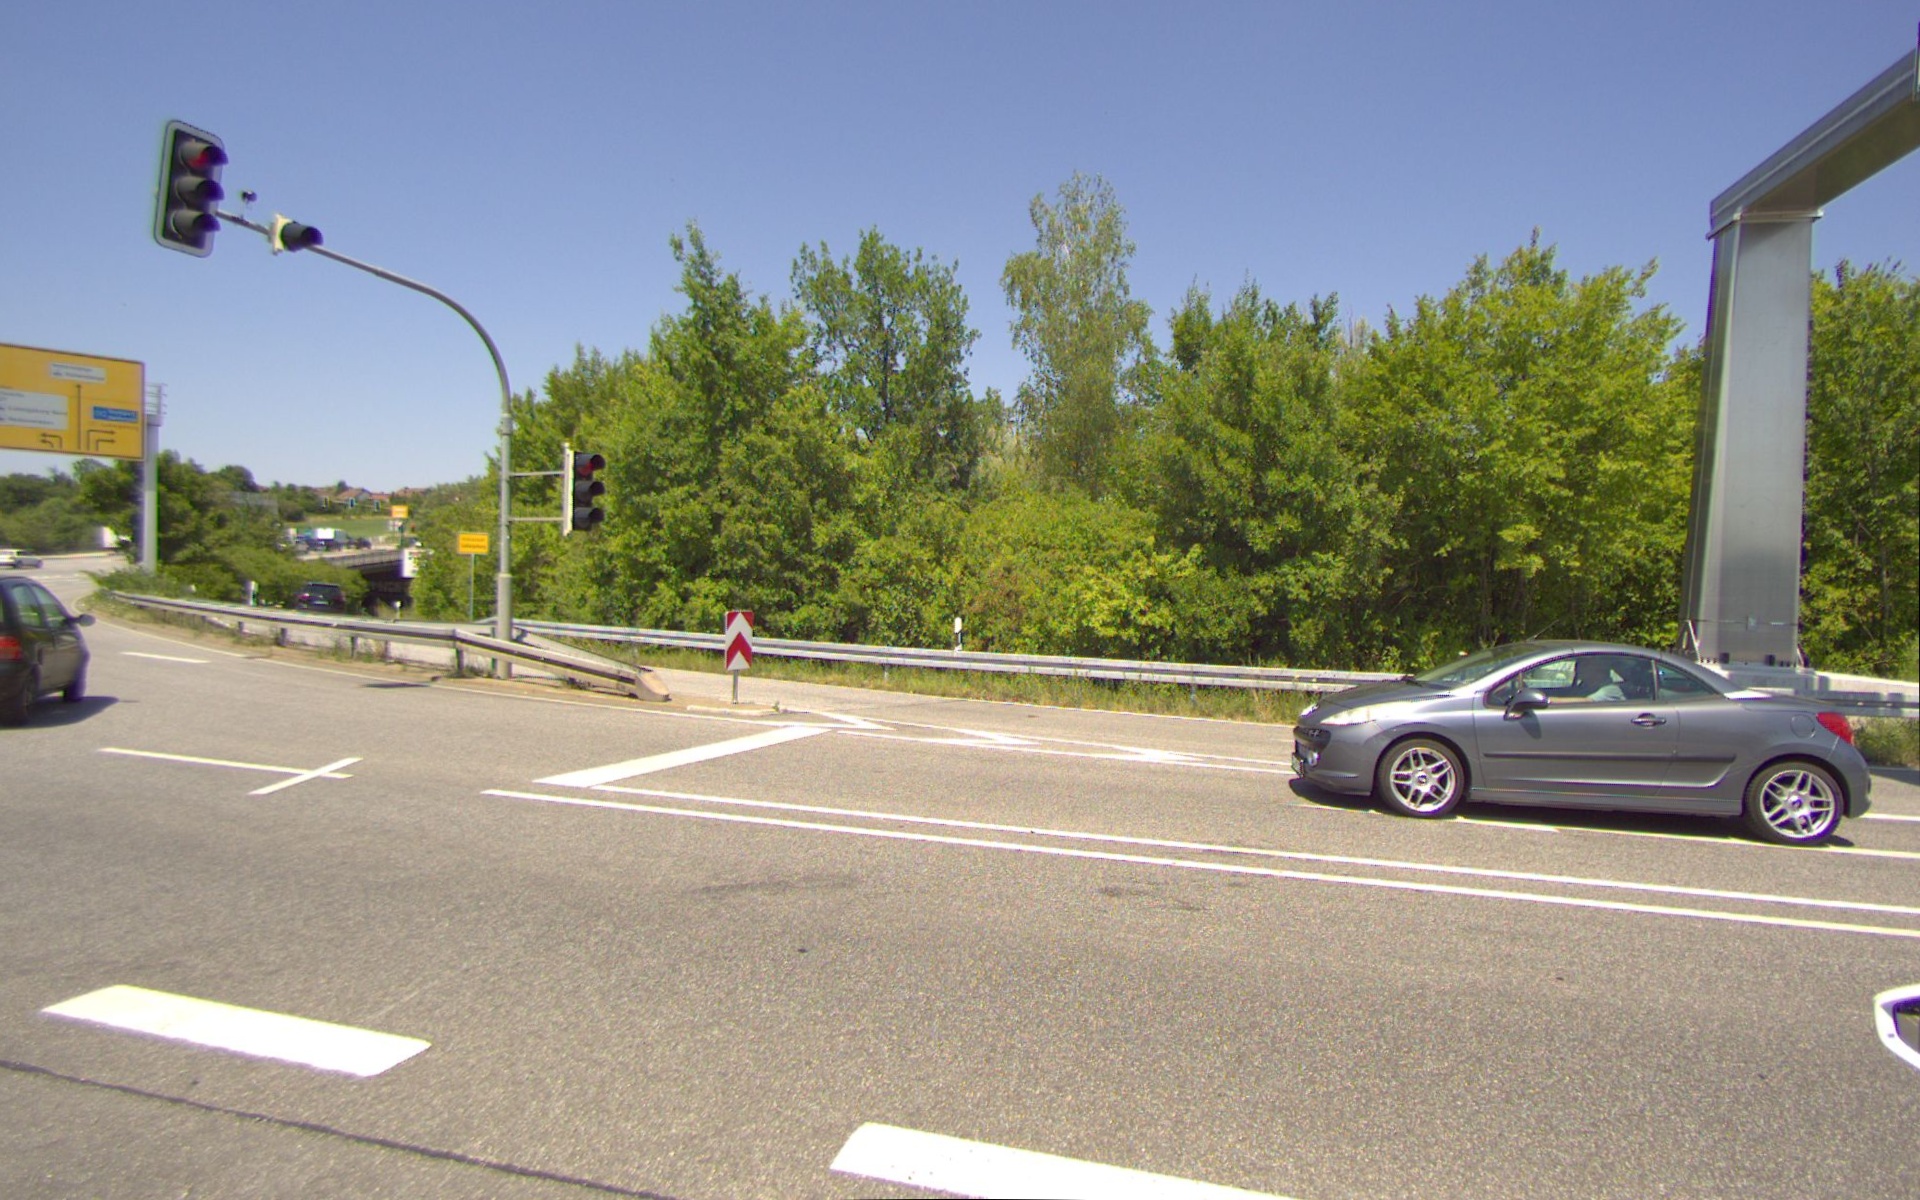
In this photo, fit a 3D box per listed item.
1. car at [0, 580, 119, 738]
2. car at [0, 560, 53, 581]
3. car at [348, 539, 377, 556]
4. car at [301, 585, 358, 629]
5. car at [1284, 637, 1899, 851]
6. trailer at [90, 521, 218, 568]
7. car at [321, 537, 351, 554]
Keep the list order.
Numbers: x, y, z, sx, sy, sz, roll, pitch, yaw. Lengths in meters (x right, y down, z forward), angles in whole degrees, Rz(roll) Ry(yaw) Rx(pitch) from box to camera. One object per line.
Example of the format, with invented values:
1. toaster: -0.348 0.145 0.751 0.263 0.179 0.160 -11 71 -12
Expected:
1. car: -9.918 0.543 10.186 1.606 1.426 3.273 1 -1 -31
2. car: -72.032 -2.281 77.326 1.621 1.413 3.975 4 -1 -17
3. car: -78.550 -6.855 132.069 1.964 2.041 3.991 1 1 -11
4. car: -27.118 0.266 43.214 1.885 1.653 4.237 6 -3 -32
5. car: 4.782 1.047 8.170 3.888 1.370 1.652 1 -2 11
6. trailer: -81.375 -5.608 102.018 3.184 4.306 15.373 2 3 -10
7. car: -81.665 -7.092 131.547 1.964 2.041 3.991 1 1 -11
